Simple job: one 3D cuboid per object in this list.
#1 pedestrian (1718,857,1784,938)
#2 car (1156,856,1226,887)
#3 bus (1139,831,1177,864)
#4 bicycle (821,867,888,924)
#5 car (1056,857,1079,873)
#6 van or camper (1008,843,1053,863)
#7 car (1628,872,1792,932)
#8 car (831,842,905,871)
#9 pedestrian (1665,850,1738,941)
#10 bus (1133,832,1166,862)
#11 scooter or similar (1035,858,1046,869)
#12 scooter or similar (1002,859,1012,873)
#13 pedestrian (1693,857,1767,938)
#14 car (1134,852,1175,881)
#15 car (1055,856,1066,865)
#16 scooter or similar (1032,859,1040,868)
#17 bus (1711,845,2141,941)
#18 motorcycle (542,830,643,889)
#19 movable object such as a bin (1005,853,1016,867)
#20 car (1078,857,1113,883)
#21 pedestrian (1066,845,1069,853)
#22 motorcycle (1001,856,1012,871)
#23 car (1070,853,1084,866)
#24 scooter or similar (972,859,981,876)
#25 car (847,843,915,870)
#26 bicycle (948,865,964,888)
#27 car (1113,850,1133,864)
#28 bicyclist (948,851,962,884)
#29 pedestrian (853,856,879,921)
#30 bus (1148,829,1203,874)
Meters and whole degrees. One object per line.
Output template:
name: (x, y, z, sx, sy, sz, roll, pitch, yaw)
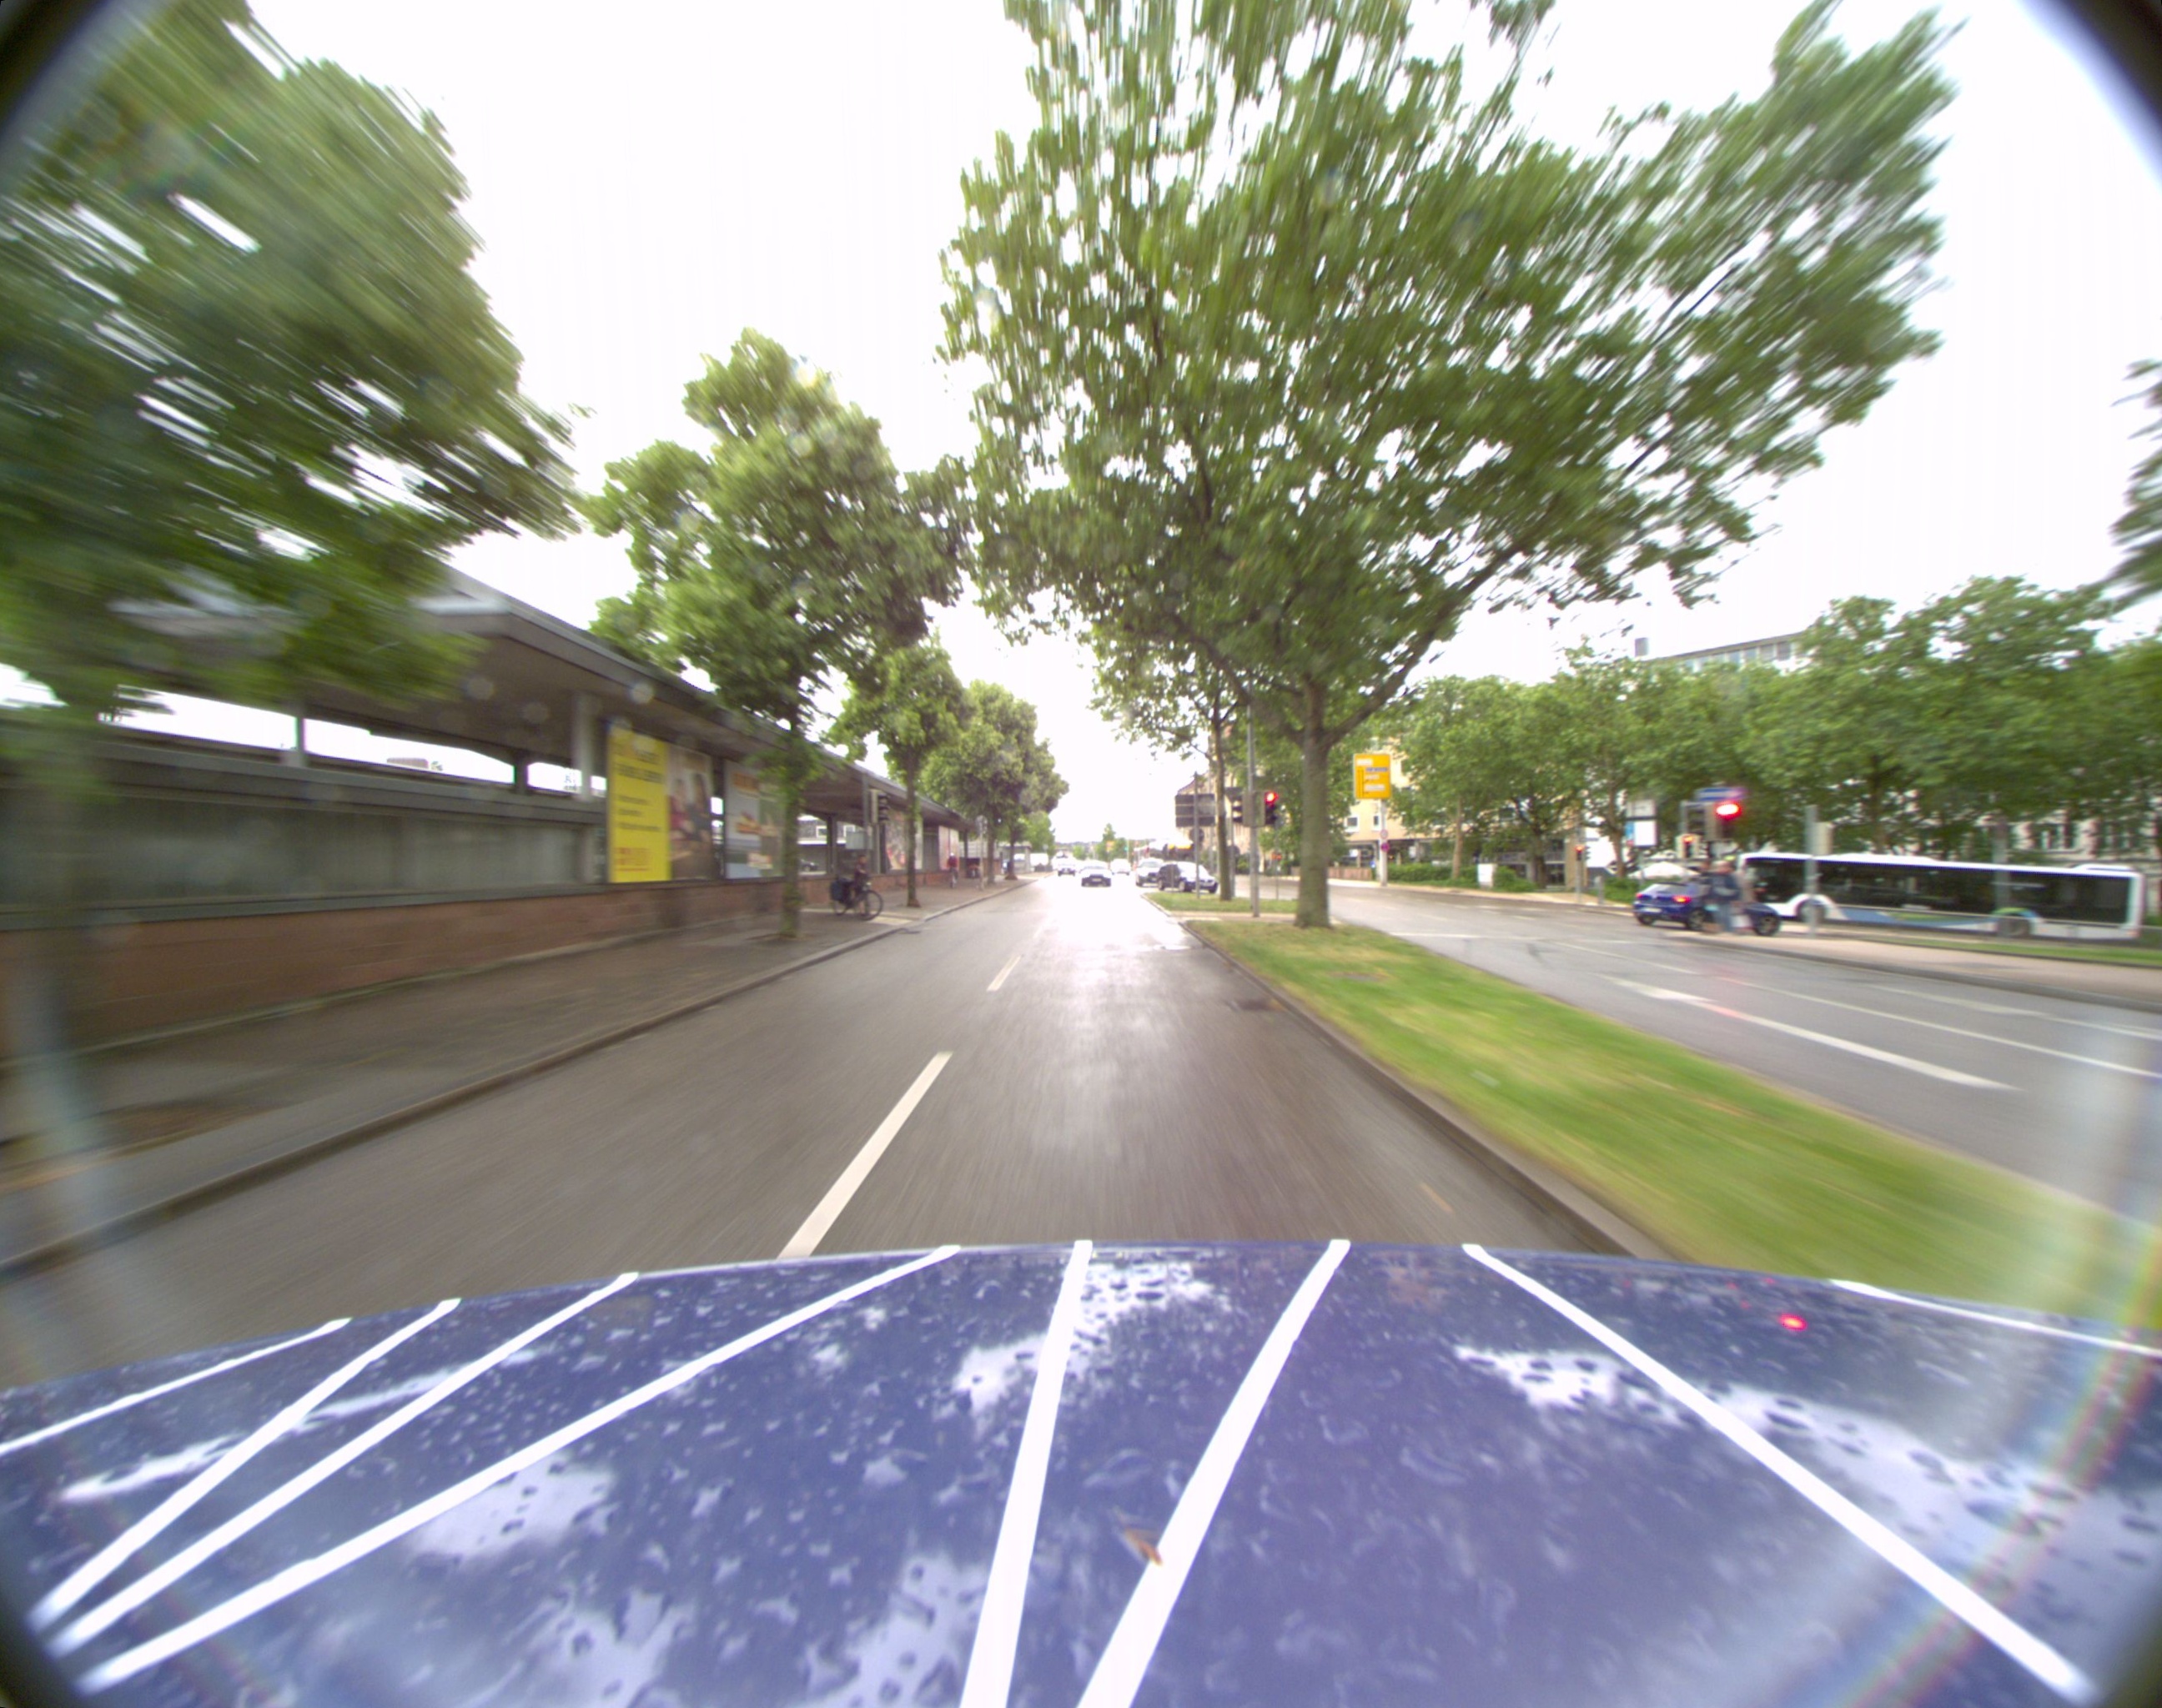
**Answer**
pedestrian: (14.417, 0.910, 16.366, 0.655, 1.700, 0.797, 0, 1, -7)
car: (5.380, 0.816, 37.769, 1.822, 1.401, 4.408, 0, 0, -15)
bus: (7.732, -0.648, 77.556, 2.759, 3.114, 8.840, -1, 1, -1)
bicycle: (-5.433, 0.968, 18.170, 1.720, 1.241, 0.487, 2, 1, 32)
car: (-1.226, 1.029, 71.900, 1.871, 1.466, 3.827, 0, 0, 3)
van or camper: (-7.738, -0.125, 116.385, 6.541, 2.853, 2.274, 0, 0, -30)
car: (18.812, 1.383, 22.748, 4.106, 1.499, 1.844, -1, 1, -17)
car: (-12.062, 0.136, 43.201, 3.692, 1.533, 1.746, 1, 0, -1)
pedestrian: (14.303, 0.934, 17.544, 0.936, 2.034, 0.873, 1, 1, 8)
bus: (7.678, -0.817, 86.885, 2.817, 3.227, 9.911, -1, 1, 0)
scooter or similar: (-5.162, 1.181, 96.375, 0.412, 1.148, 1.267, 17, 1, 31)
scooter or similar: (-6.465, 1.027, 66.156, 0.495, 1.146, 1.712, 0, 1, -19)
pedestrian: (13.326, 0.874, 15.630, 0.655, 1.594, 0.924, 0, 1, -11)
car: (4.349, 0.723, 45.606, 1.969, 1.630, 4.358, 0, 0, -1)
car: (-3.385, 1.054, 127.891, 1.661, 1.466, 3.589, 0, 0, 2)
scooter or similar: (-5.731, 1.230, 96.638, 0.413, 1.148, 1.266, -2, -2, 32)
bus: (34.642, 1.431, 32.052, 11.942, 3.002, 2.894, 3, 2, 22)
motorcycle: (-13.570, 0.160, 21.150, 2.347, 1.600, 0.694, -1, 1, 0)
movable object such as a bin: (-6.987, 0.576, 75.271, 1.036, 1.330, 1.317, 0, 0, -1)
car: (0.872, 0.888, 43.964, 1.871, 1.466, 3.827, 0, 0, 3)
pedestrian: (-2.670, -1.017, 152.302, 0.560, 1.741, 0.700, 1, 0, 5)
motorcycle: (-6.703, 0.847, 68.342, 0.793, 1.340, 2.456, 0, 0, -2)
car: (-0.495, 0.682, 91.088, 1.619, 1.477, 3.669, 1, 0, -1)
scooter or similar: (-7.339, 0.957, 53.290, 0.494, 1.146, 1.545, 0, 1, -2)
car: (-12.104, 0.124, 46.029, 3.565, 1.533, 1.747, 1, 0, 6)
bicycle: (-5.931, 1.065, 36.106, 0.447, 1.010, 1.677, 2, 0, -1)
car: (4.336, 0.322, 79.552, 1.983, 1.438, 3.908, 1, 0, 2)
bicyclist: (-5.995, 0.623, 36.082, 0.535, 1.529, 0.694, 2, 1, -2)
pedestrian: (-5.250, 0.828, 18.538, 0.456, 1.559, 0.394, 2, 1, 35)
bus: (7.778, -0.175, 64.427, 2.963, 3.419, 12.558, 0, 0, -1)
